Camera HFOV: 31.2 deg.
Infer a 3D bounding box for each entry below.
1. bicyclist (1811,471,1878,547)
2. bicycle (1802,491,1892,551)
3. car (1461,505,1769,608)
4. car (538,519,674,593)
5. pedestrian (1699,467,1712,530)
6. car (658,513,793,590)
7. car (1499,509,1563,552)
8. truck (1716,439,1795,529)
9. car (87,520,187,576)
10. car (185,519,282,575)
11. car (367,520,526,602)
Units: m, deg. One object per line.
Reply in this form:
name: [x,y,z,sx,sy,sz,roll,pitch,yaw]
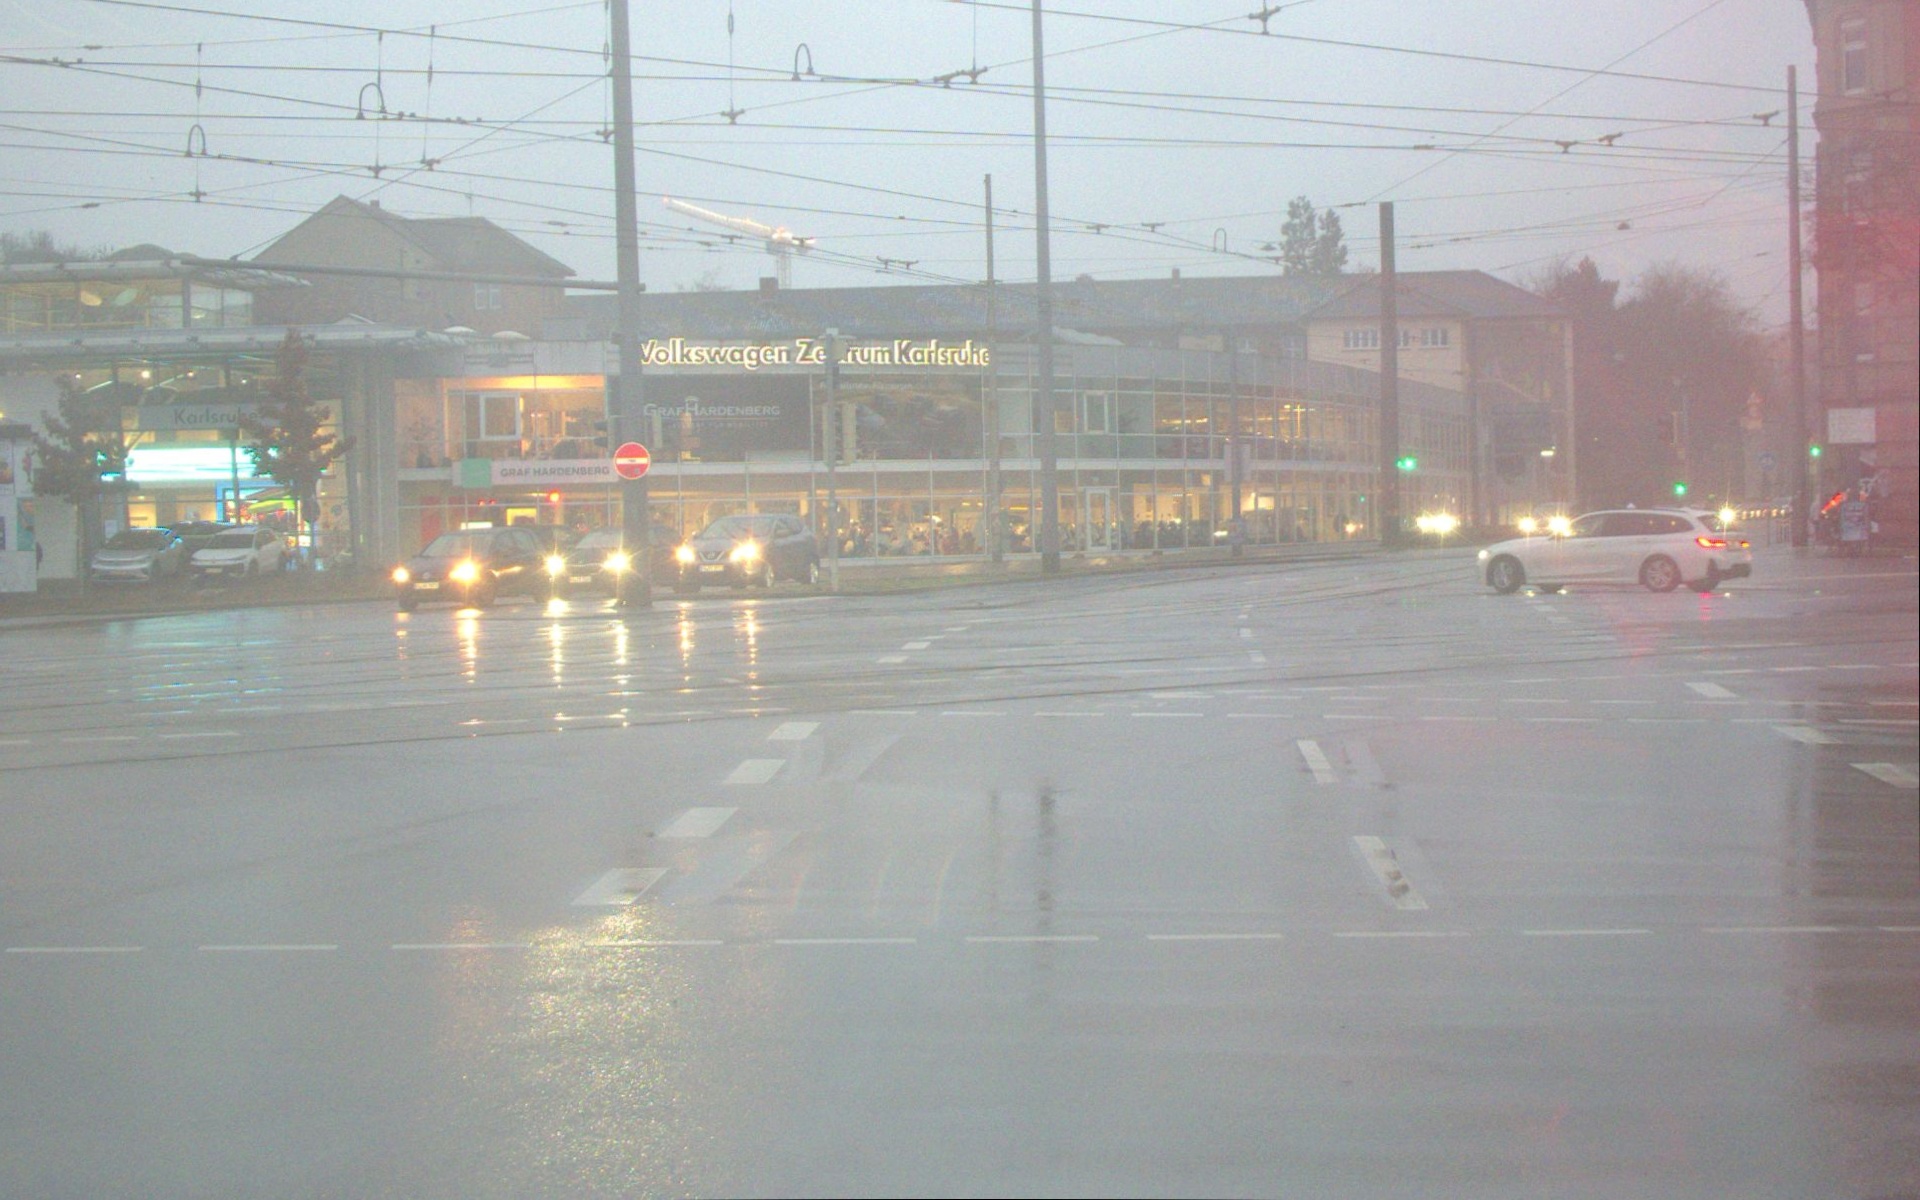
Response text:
bicyclist: [20.935,-2.158,81.373,1.047,1.762,1.072,-2,1,-30]
bicycle: [21.007,-1.875,81.454,0.695,1.371,2.208,-2,1,-30]
car: [11.064,-0.727,58.234,4.808,1.651,1.737,-1,1,35]
car: [-7.281,-0.932,71.029,1.813,1.441,3.999,-1,1,9]
pedestrian: [23.850,-3.243,109.920,0.344,2.007,0.418,-1,1,15]
car: [-4.654,-0.983,68.790,1.813,1.441,3.999,-1,1,9]
car: [21.954,-2.671,132.184,1.864,1.596,3.783,-1,1,18]
truck: [24.951,-3.612,107.752,1.995,2.682,5.111,-1,1,17]
car: [-24.406,-1.555,102.105,1.862,1.596,4.000,-1,1,2]
car: [-21.499,-1.578,101.868,1.862,1.596,4.000,-1,1,2]
car: [-9.572,-0.745,64.364,1.813,1.441,3.999,-1,1,9]
